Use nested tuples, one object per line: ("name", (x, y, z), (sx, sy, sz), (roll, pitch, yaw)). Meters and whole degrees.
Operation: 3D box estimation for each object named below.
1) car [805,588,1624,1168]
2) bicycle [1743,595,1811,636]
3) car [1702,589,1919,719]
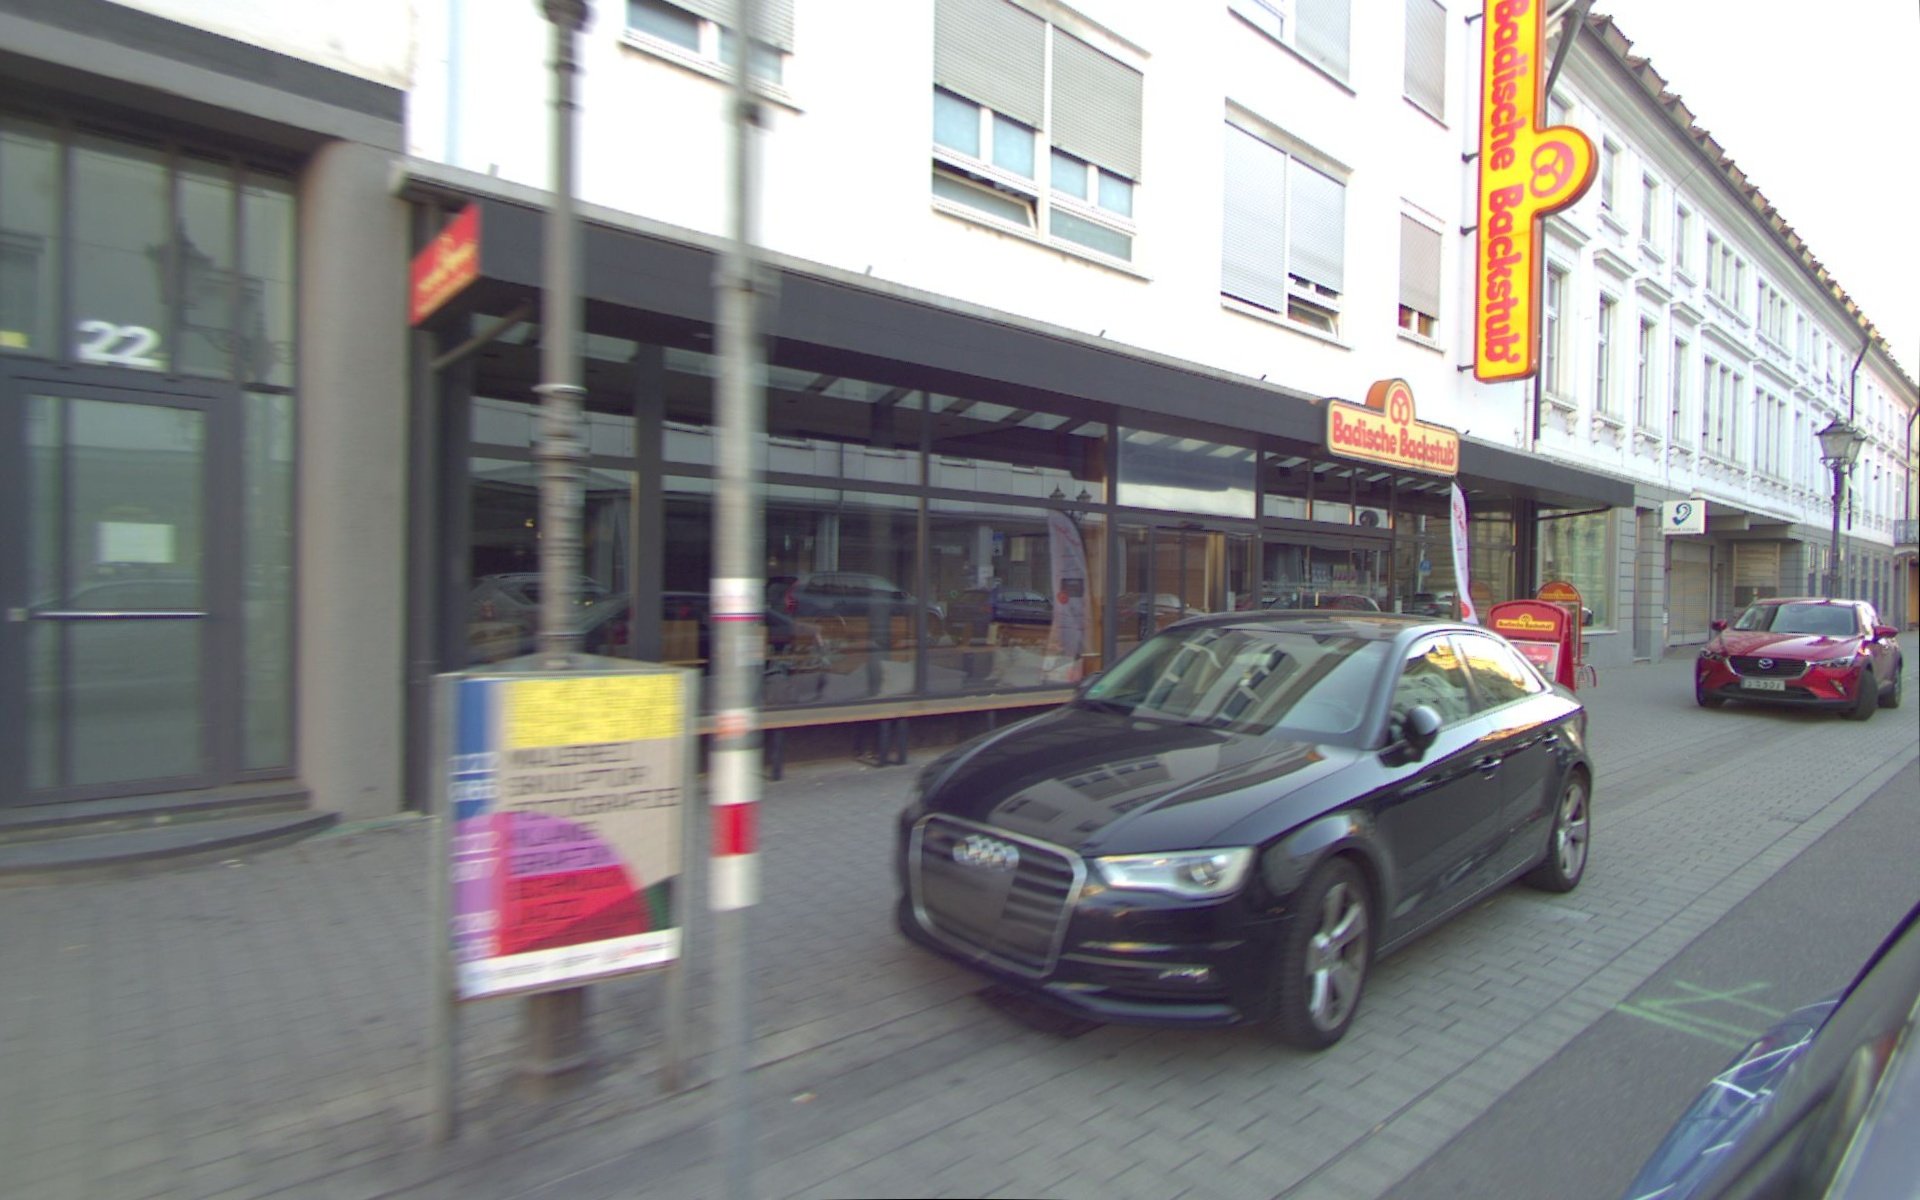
("car", (1.476, 0.711, 4.703), (4.048, 1.482, 1.803), (0, 2, -43))
("bicycle", (26.390, 0.481, 32.696), (0.431, 1.268, 1.659), (0, 1, -42))
("car", (11.860, 0.639, 14.012), (3.612, 1.542, 1.763), (0, 1, -40))
